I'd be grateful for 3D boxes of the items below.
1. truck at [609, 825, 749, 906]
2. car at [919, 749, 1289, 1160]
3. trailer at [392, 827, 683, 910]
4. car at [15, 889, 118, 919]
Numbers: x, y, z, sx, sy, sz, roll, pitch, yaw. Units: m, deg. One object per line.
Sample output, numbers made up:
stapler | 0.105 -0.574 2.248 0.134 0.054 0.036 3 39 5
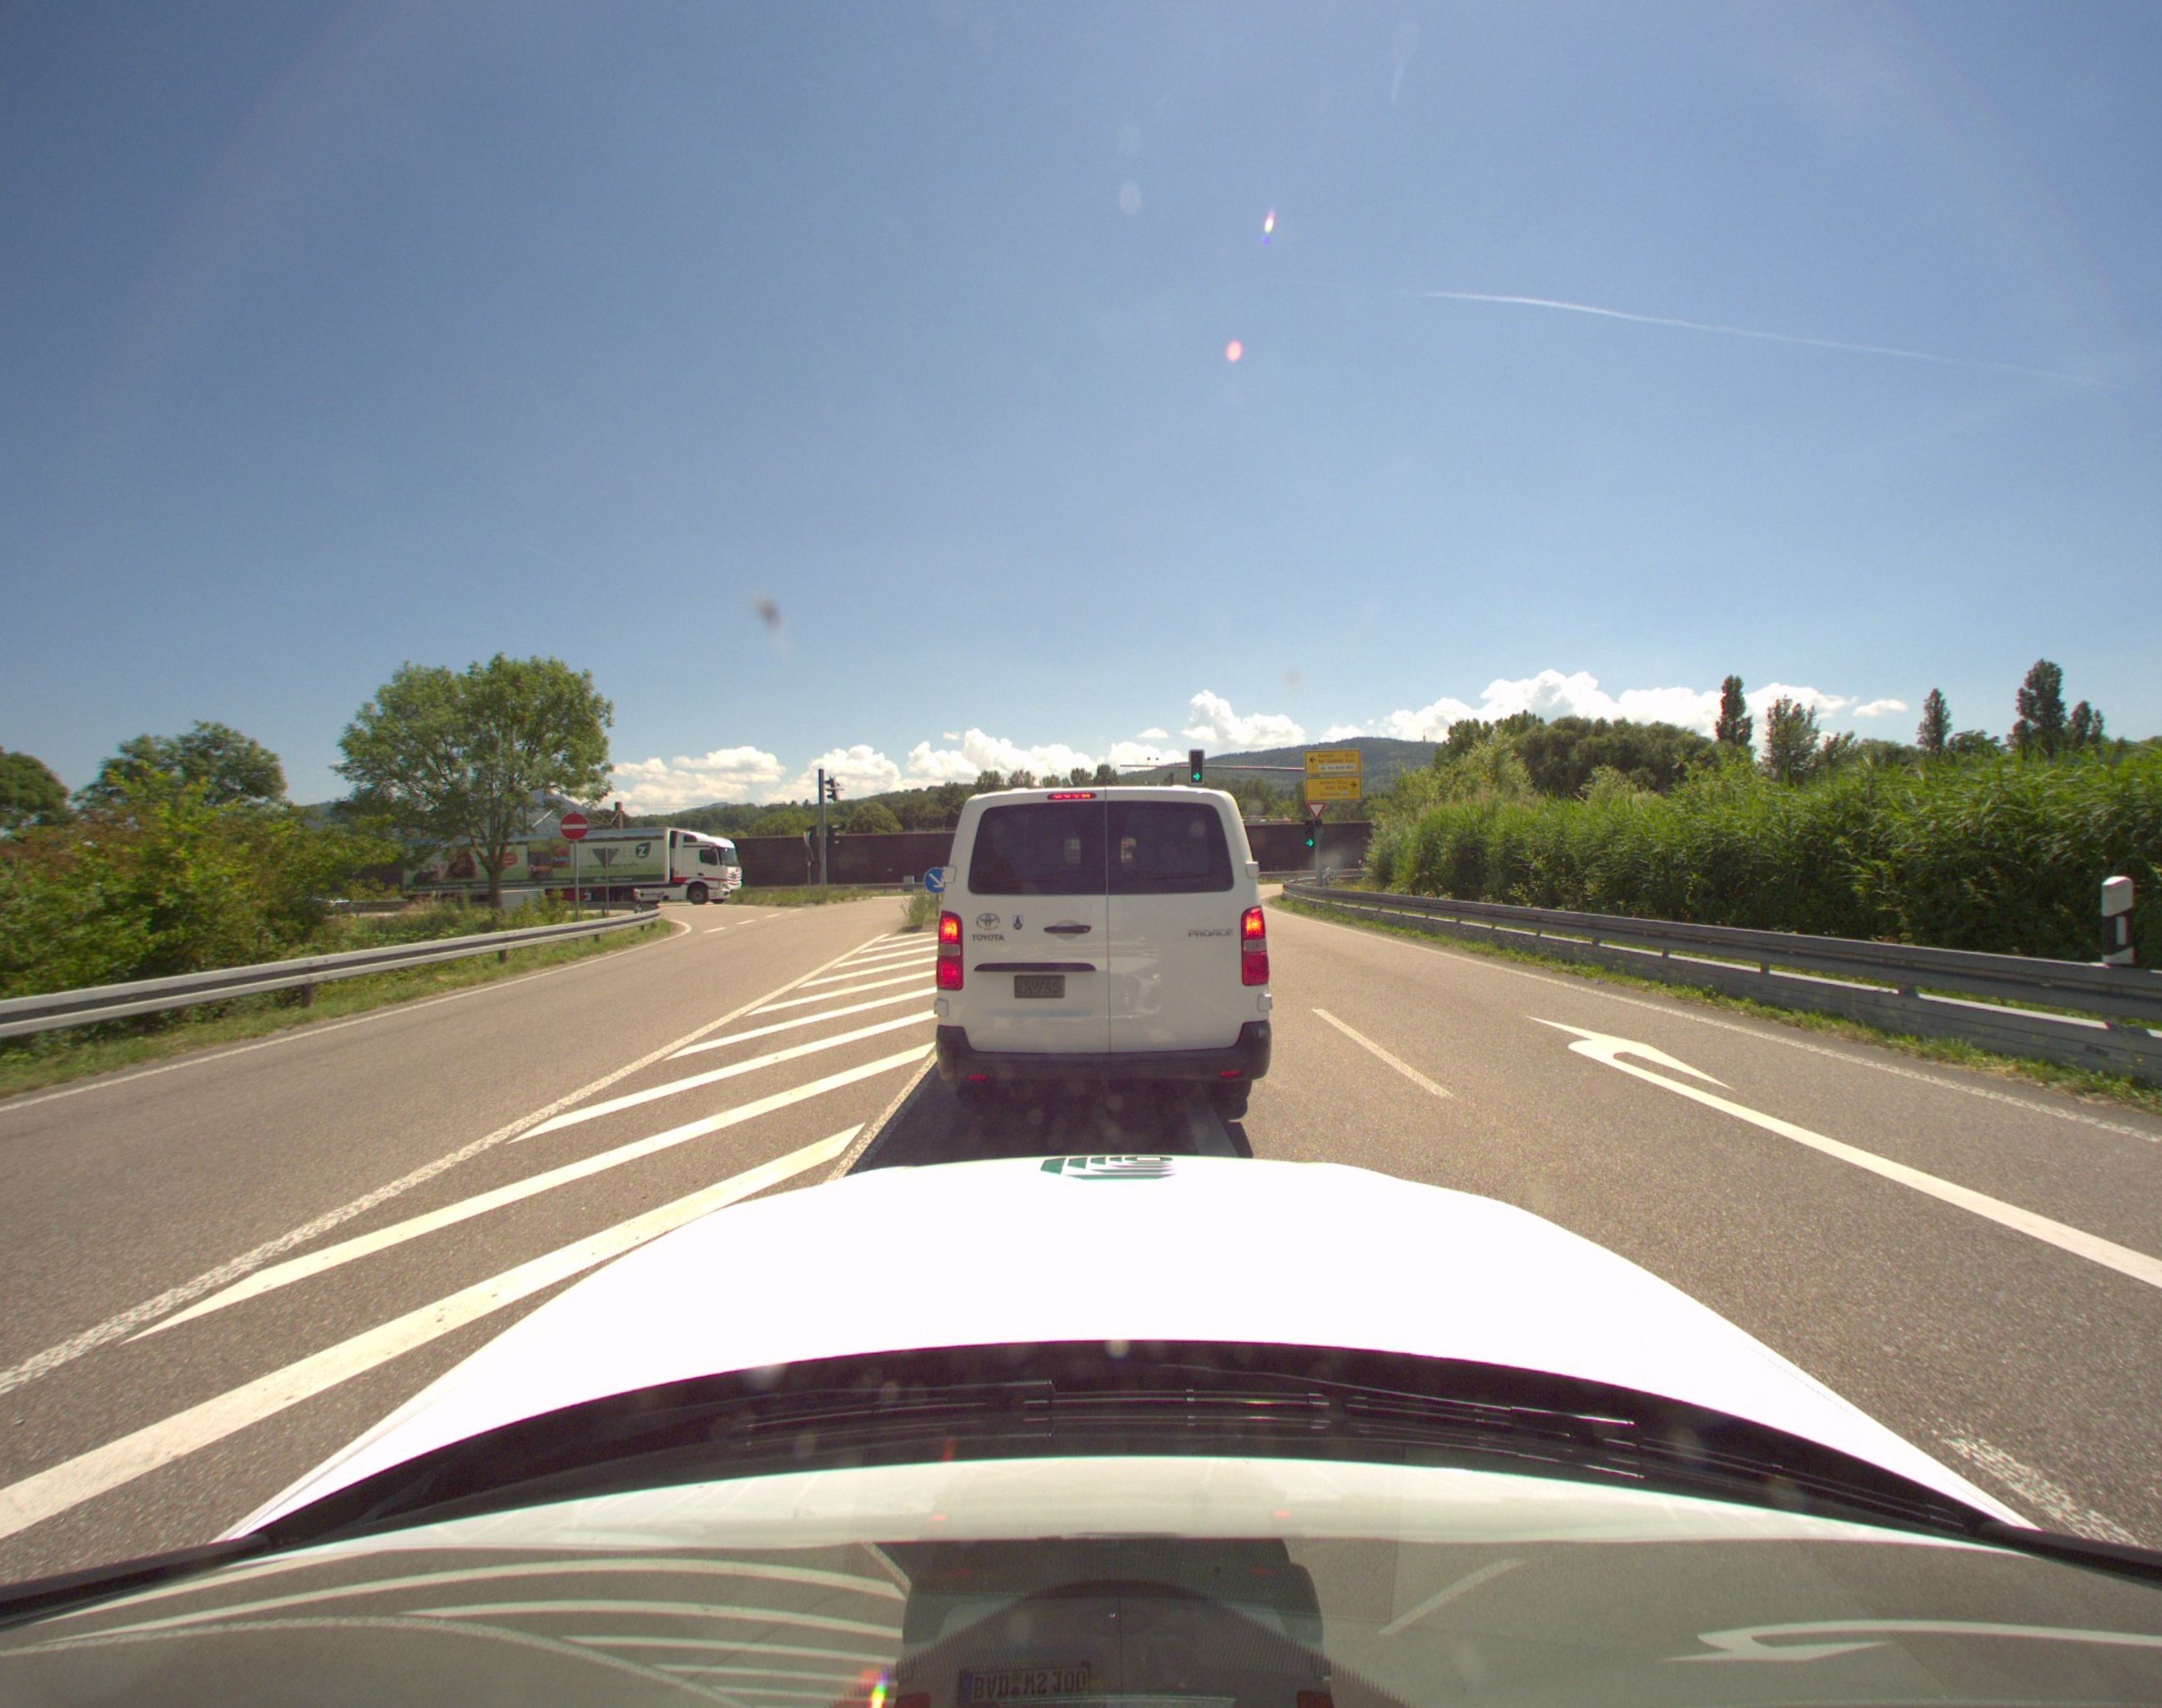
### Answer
truck | -20.974 0.601 42.799 5.746 3.954 3.062 -1 -1 0
car | 0.171 0.519 6.066 1.808 2.017 4.001 -1 -1 2
trailer | -28.232 0.741 42.742 13.098 3.954 3.061 -1 -1 0
car | -53.912 2.655 43.310 3.462 1.464 1.554 -1 -1 0
